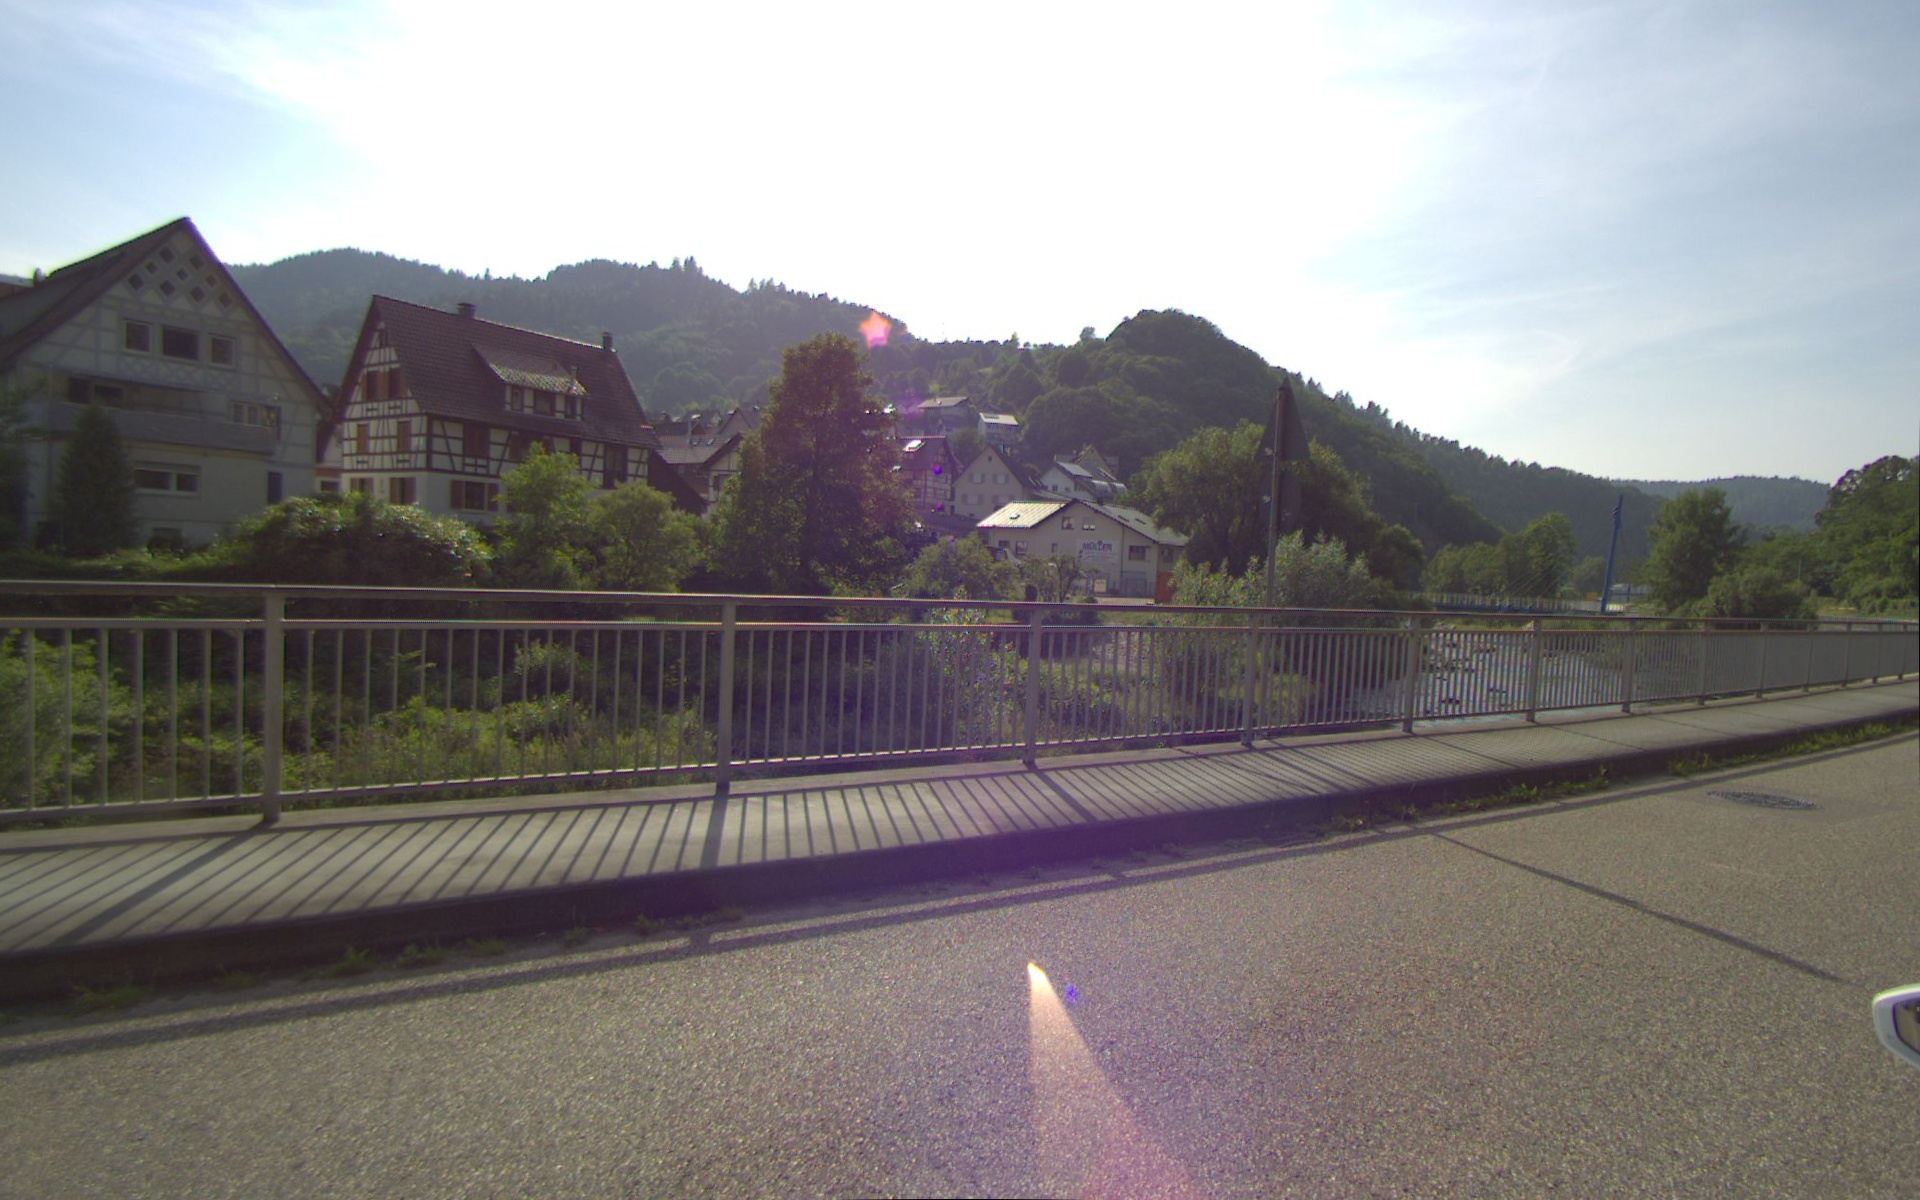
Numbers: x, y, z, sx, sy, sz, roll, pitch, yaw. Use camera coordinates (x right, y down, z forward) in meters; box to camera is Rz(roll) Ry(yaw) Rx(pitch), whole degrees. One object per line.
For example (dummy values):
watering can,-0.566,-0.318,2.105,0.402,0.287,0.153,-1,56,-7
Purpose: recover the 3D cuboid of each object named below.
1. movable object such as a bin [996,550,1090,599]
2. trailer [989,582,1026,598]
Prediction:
movable object such as a bin,7.854,-2.437,95.492,8.018,3.256,3.547,10,0,-7
trailer,3.968,-0.809,83.420,1.861,1.327,3.697,0,0,24
